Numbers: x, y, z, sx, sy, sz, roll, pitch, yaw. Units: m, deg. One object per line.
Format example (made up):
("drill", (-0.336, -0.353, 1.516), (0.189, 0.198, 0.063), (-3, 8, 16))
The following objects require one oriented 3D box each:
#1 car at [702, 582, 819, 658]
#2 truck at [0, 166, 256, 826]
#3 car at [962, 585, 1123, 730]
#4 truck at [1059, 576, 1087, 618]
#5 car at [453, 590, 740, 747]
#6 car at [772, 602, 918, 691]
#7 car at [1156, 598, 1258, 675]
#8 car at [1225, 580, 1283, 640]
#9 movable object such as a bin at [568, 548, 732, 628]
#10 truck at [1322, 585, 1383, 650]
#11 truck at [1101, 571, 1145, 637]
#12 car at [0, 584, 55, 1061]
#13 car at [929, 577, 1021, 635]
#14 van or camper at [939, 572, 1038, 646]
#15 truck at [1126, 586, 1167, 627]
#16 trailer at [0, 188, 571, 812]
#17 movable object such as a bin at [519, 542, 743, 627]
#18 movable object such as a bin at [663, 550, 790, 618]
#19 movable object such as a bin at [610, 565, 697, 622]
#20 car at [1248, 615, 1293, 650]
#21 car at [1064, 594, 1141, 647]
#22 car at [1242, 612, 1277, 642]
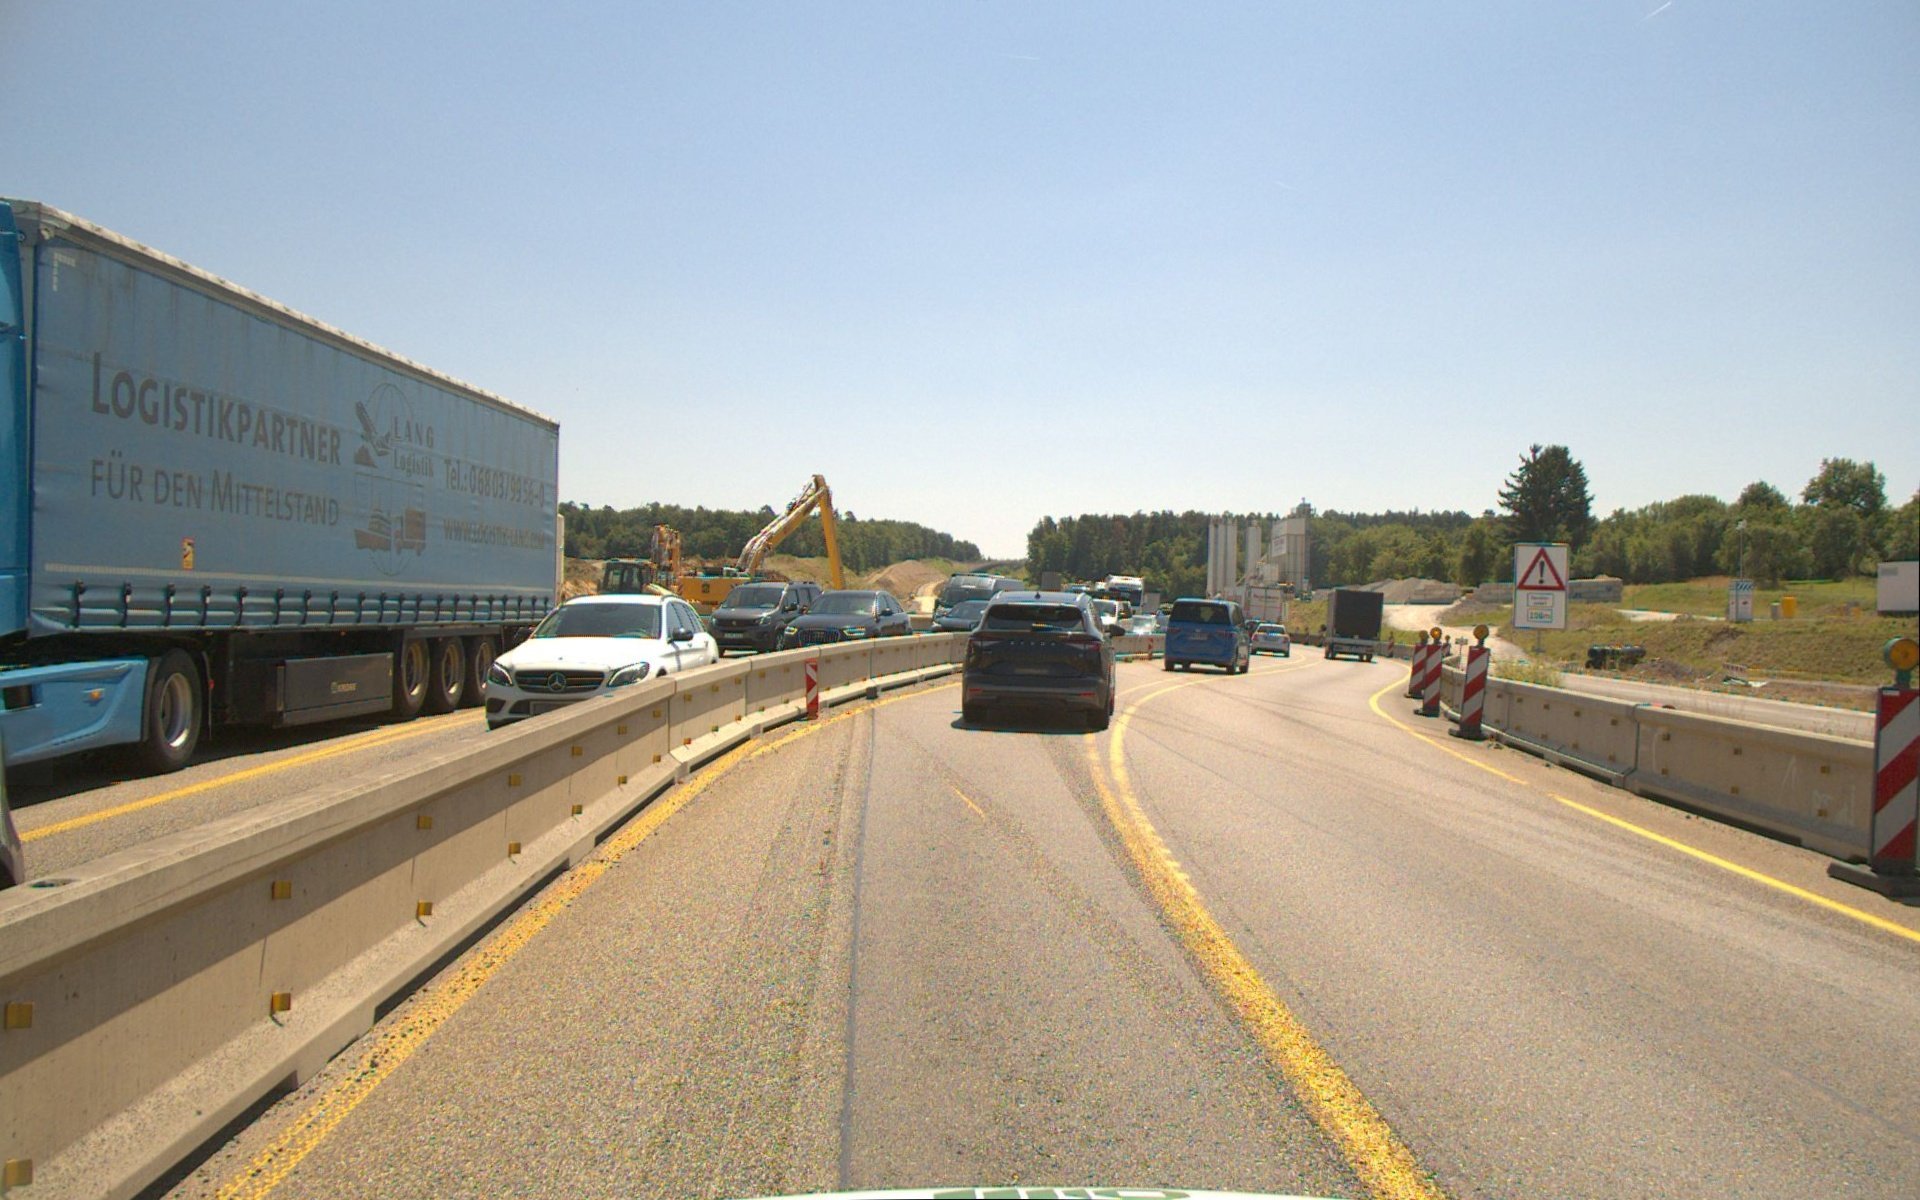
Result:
("car", (-4.937, 0.473, 41.575), (1.737, 1.796, 4.714), (0, 0, 9))
("truck", (-7.539, -0.679, 11.241), (2.854, 4.201, 6.138), (1, 1, 0))
("car", (1.101, 0.658, 21.174), (1.804, 1.609, 4.002), (2, 0, 4))
("truck", (12.038, -0.336, 176.351), (2.715, 4.209, 10.875), (2, 0, 4))
("car", (-3.880, 0.671, 18.551), (1.974, 1.470, 4.589), (2, 0, 2))
("car", (-2.195, 0.857, 32.952), (1.730, 1.635, 4.714), (0, 0, 11))
("car", (6.662, 0.946, 44.308), (1.952, 1.876, 4.001), (3, 1, 18))
("car", (22.464, 0.742, 126.831), (3.365, 4.171, 9.203), (5, 0, 5))
("movable object such as a bin", (-12.702, -0.480, 67.762), (5.932, 2.811, 2.809), (4, 1, 25))
("truck", (19.129, 0.814, 80.819), (2.616, 2.997, 5.625), (1, 0, 11))
("truck", (11.190, 0.252, 114.042), (2.713, 4.334, 6.202), (2, 0, 5))
("car", (-3.650, 0.709, 3.310), (1.557, 1.466, 4.123), (0, 1, -3))
("car", (0.471, 0.152, 44.927), (1.653, 1.507, 4.474), (0, 0, 12))
("van or camper", (1.143, 0.350, 61.591), (2.054, 2.586, 6.308), (1, 0, 16))
("truck", (21.925, 0.755, 195.165), (3.406, 4.292, 10.378), (6, 1, 1))
("trailer", (-7.461, -0.772, 18.112), (2.854, 4.201, 13.919), (1, 1, 1))
("movable object such as a bin", (-12.230, -0.595, 61.292), (7.772, 2.474, 3.705), (5, 1, 35))
("movable object such as a bin", (-9.968, -0.635, 71.263), (3.224, 2.482, 5.442), (6, 1, 17))
("movable object such as a bin", (-17.401, -0.400, 94.107), (3.587, 3.078, 4.996), (1, 2, 6))
("car", (14.387, 1.477, 76.509), (2.001, 1.553, 5.070), (1, 0, 11))
("car", (5.398, 0.782, 62.096), (1.833, 1.906, 5.060), (0, -1, 18))
("car", (18.351, 1.628, 101.391), (1.782, 1.673, 3.868), (3, 0, 7))
